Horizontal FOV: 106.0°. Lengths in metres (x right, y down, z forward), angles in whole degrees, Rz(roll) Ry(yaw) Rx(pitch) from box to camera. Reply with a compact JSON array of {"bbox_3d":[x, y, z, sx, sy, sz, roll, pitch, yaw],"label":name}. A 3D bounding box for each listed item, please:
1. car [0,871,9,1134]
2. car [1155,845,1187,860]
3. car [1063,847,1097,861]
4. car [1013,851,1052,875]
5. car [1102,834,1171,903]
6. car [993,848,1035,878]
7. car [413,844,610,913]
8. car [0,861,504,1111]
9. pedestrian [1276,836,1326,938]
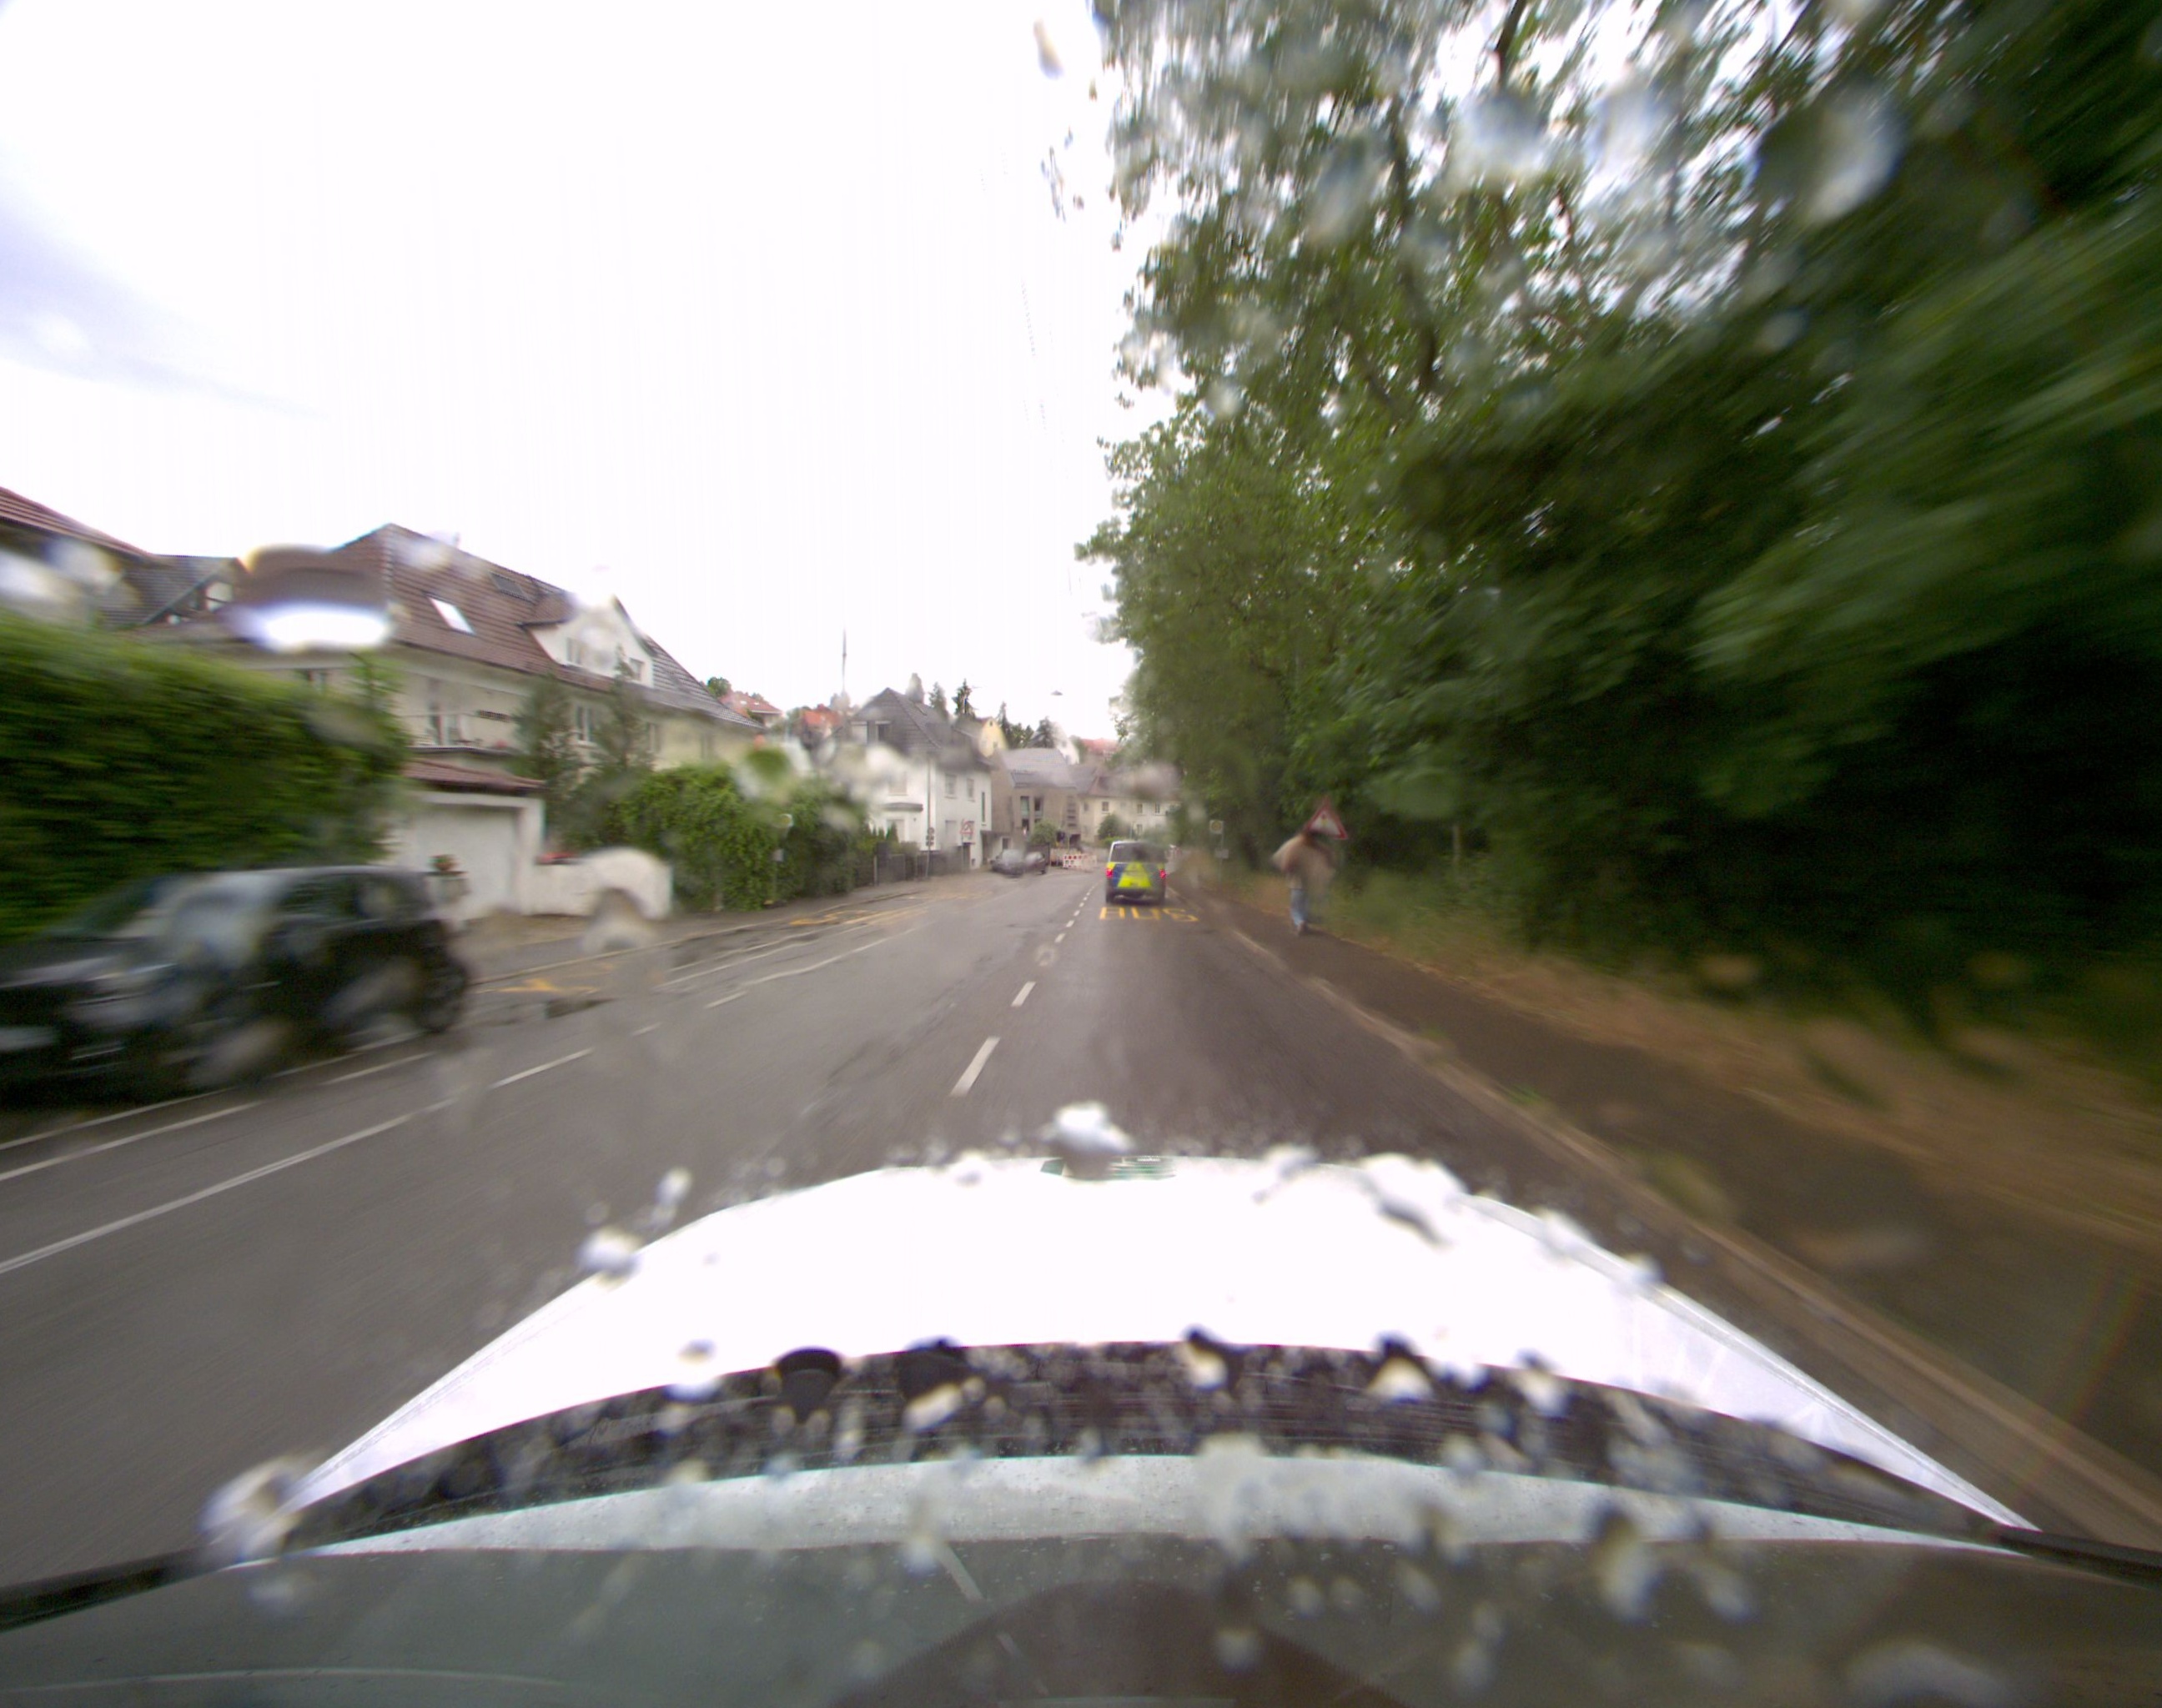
[{"bbox_3d":[-6.699,0.842,2.310,1.682,1.418,4.215,-1,1,0],"label":"car"},{"bbox_3d":[12.348,-0.178,112.311,3.949,2.013,1.842,1,1,33],"label":"car"},{"bbox_3d":[-0.129,-0.028,89.594,1.847,1.443,3.957,0,1,-35],"label":"car"},{"bbox_3d":[-3.166,0.555,53.756,1.606,1.440,4.243,1,1,10],"label":"car"},{"bbox_3d":[1.722,0.440,26.545,1.987,2.014,4.402,1,0,1],"label":"car"},{"bbox_3d":[-3.903,0.485,48.300,1.746,1.658,4.411,-1,1,4],"label":"car"},{"bbox_3d":[-13.908,0.591,20.025,3.629,1.423,1.635,3,-1,2],"label":"car"},{"bbox_3d":[-6.508,0.830,6.491,1.513,1.454,3.032,-1,0,3],"label":"car"},{"bbox_3d":[3.563,0.530,13.221,0.639,1.611,0.670,0,-1,1],"label":"pedestrian"}]
